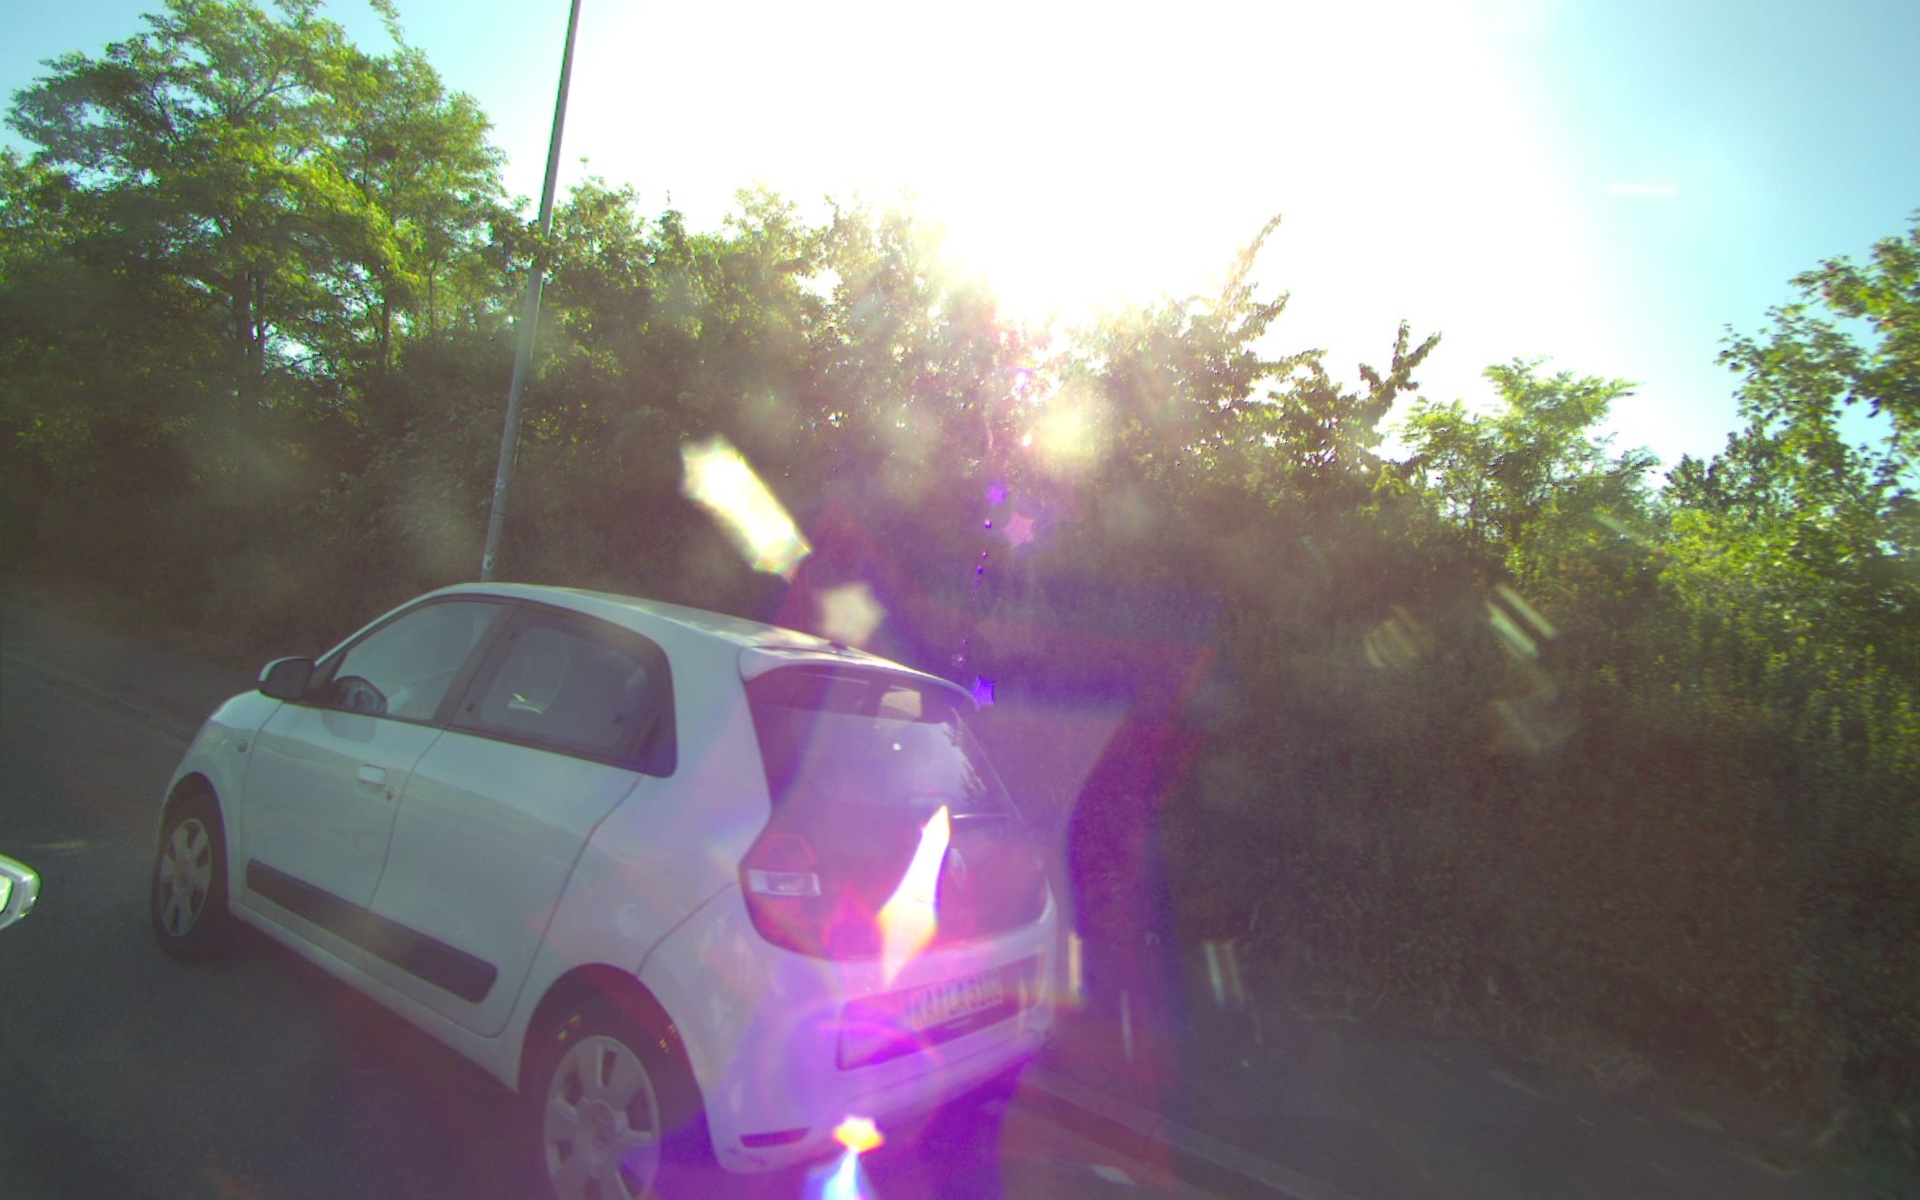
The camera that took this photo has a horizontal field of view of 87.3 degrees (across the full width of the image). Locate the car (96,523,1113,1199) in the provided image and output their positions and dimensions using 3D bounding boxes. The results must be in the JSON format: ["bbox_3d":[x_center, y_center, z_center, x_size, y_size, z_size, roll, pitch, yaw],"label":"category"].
[{"bbox_3d":[-1.453,0.733,3.707,3.499,1.554,1.560,6,-5,34],"label":"car"}]
